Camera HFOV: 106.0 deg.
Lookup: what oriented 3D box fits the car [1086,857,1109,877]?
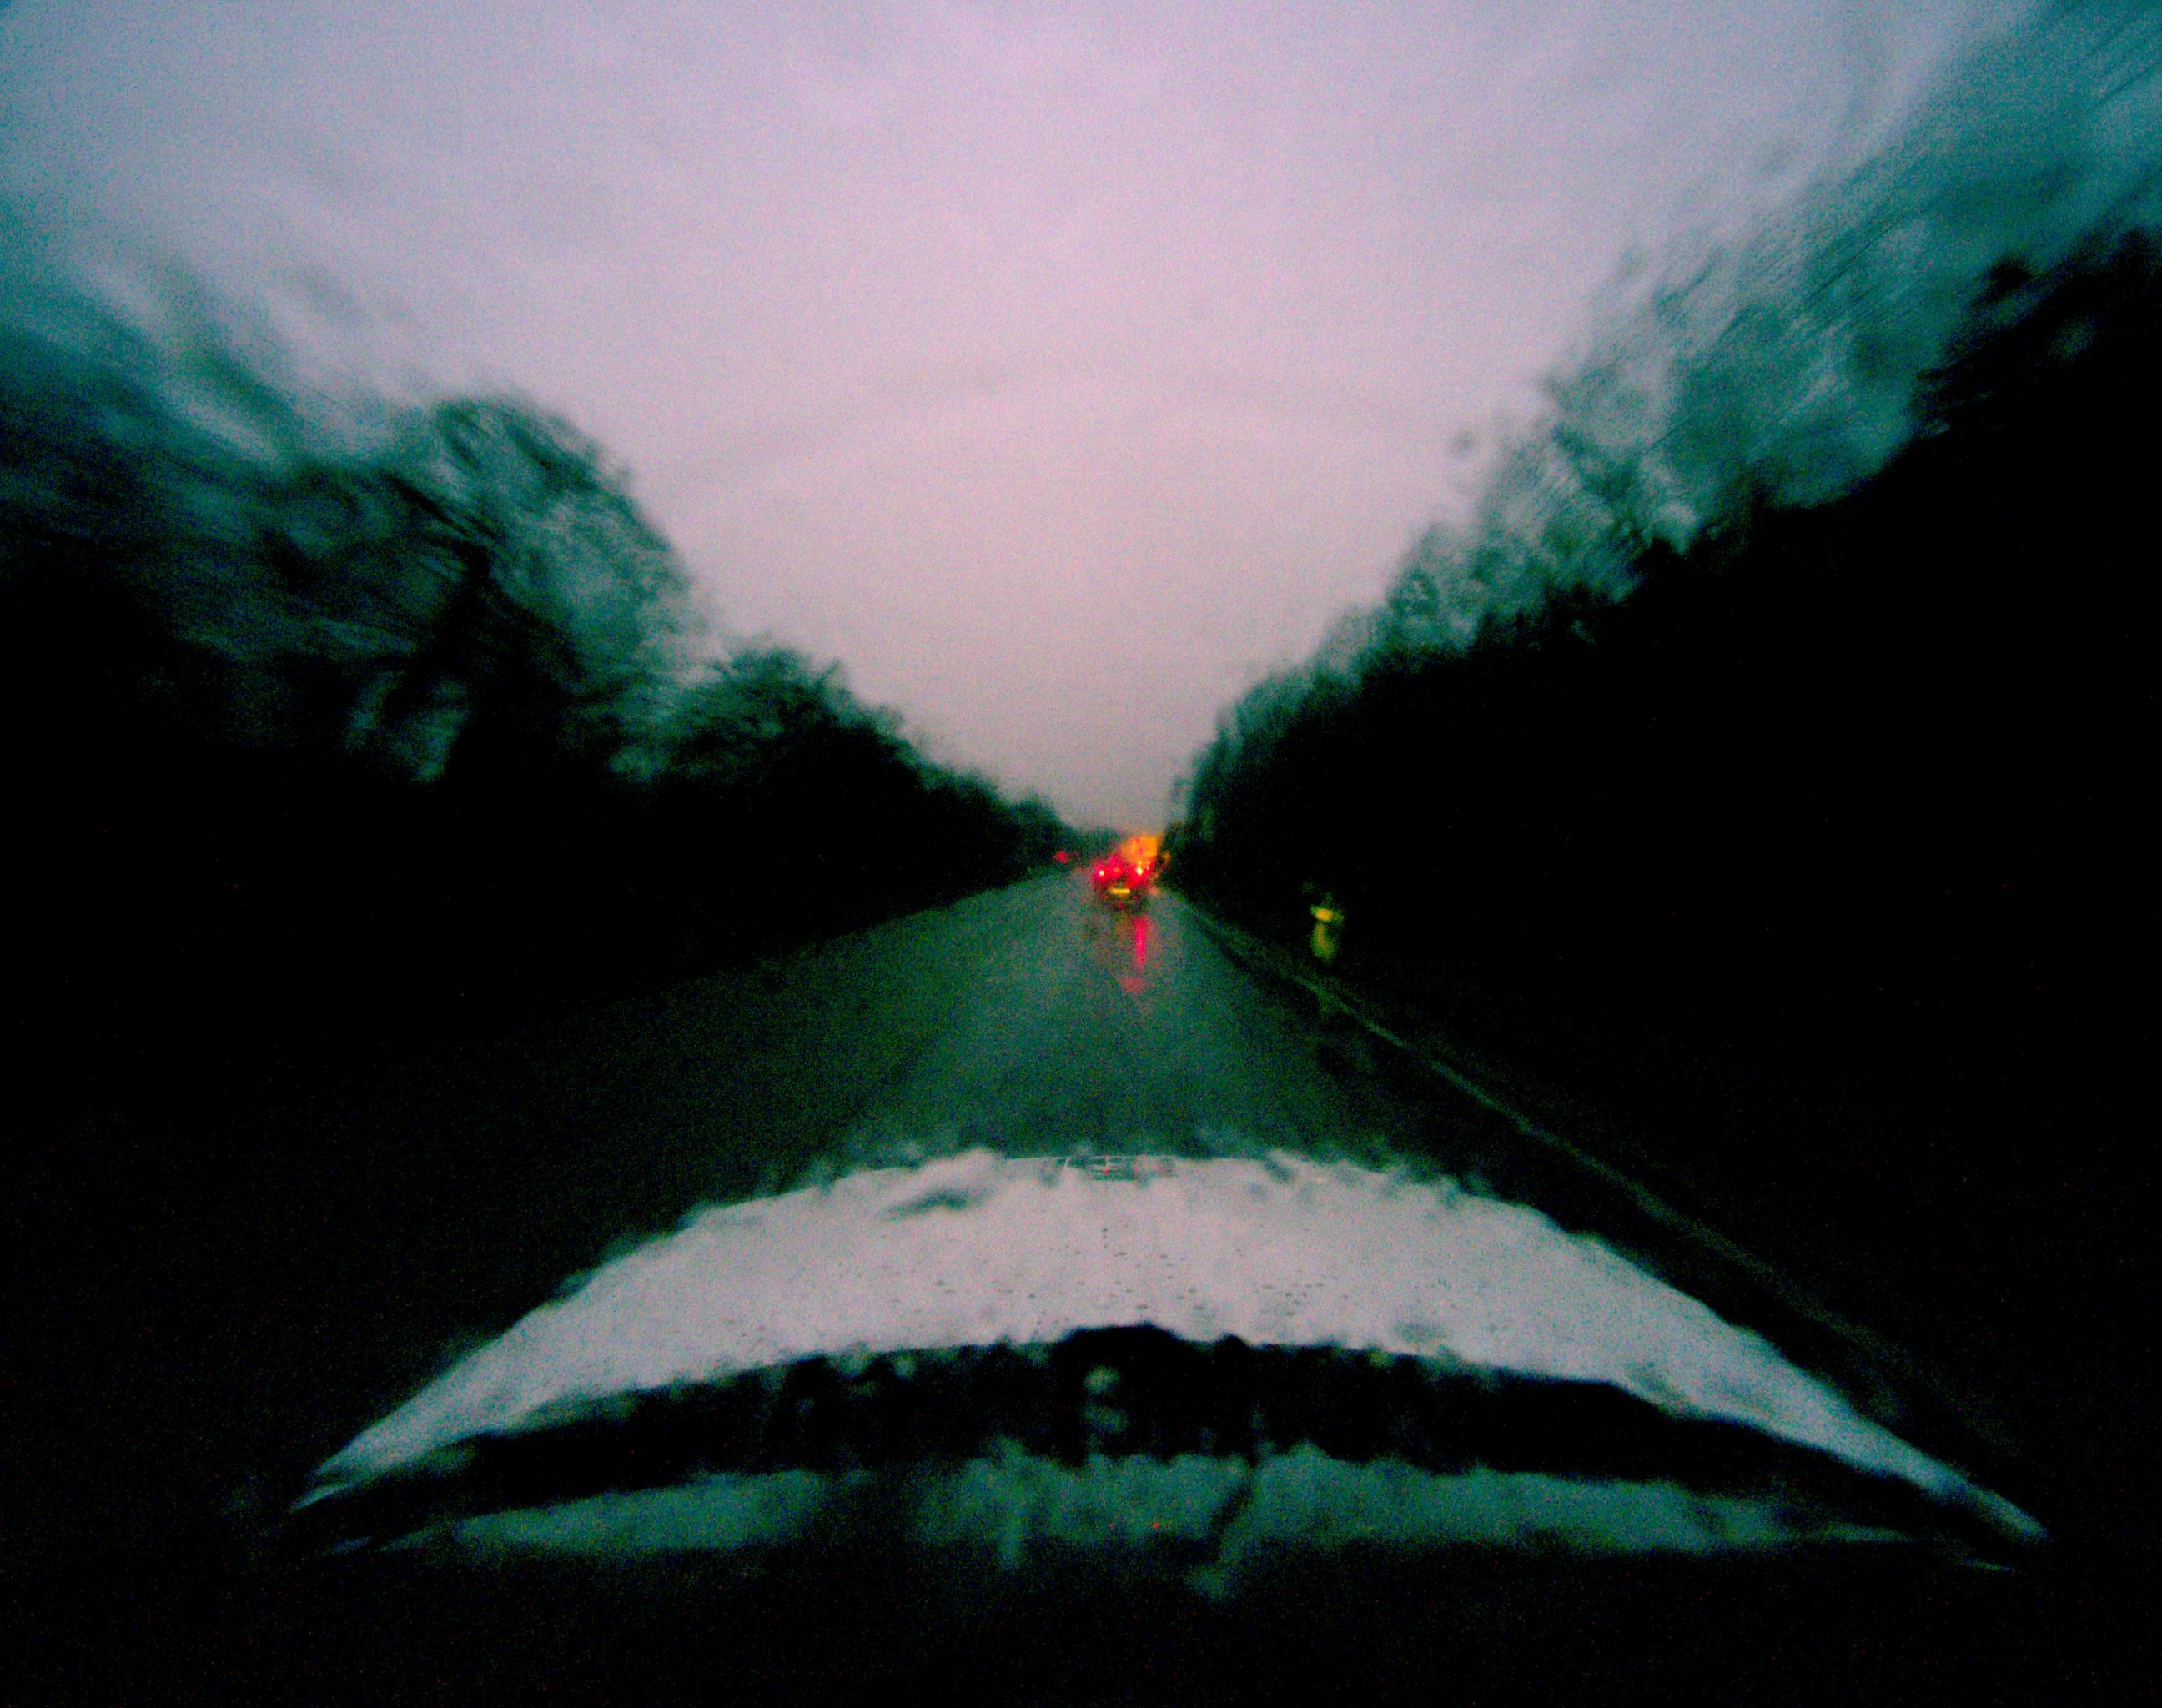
[{"bbox_3d":[1.416,1.053,67.486,1.720,1.643,4.003,-1,0,3],"label":"car"}]

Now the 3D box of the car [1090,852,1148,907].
[{"bbox_3d":[1.258,0.784,26.658,1.720,1.643,4.003,-1,0,3],"label":"car"}]
